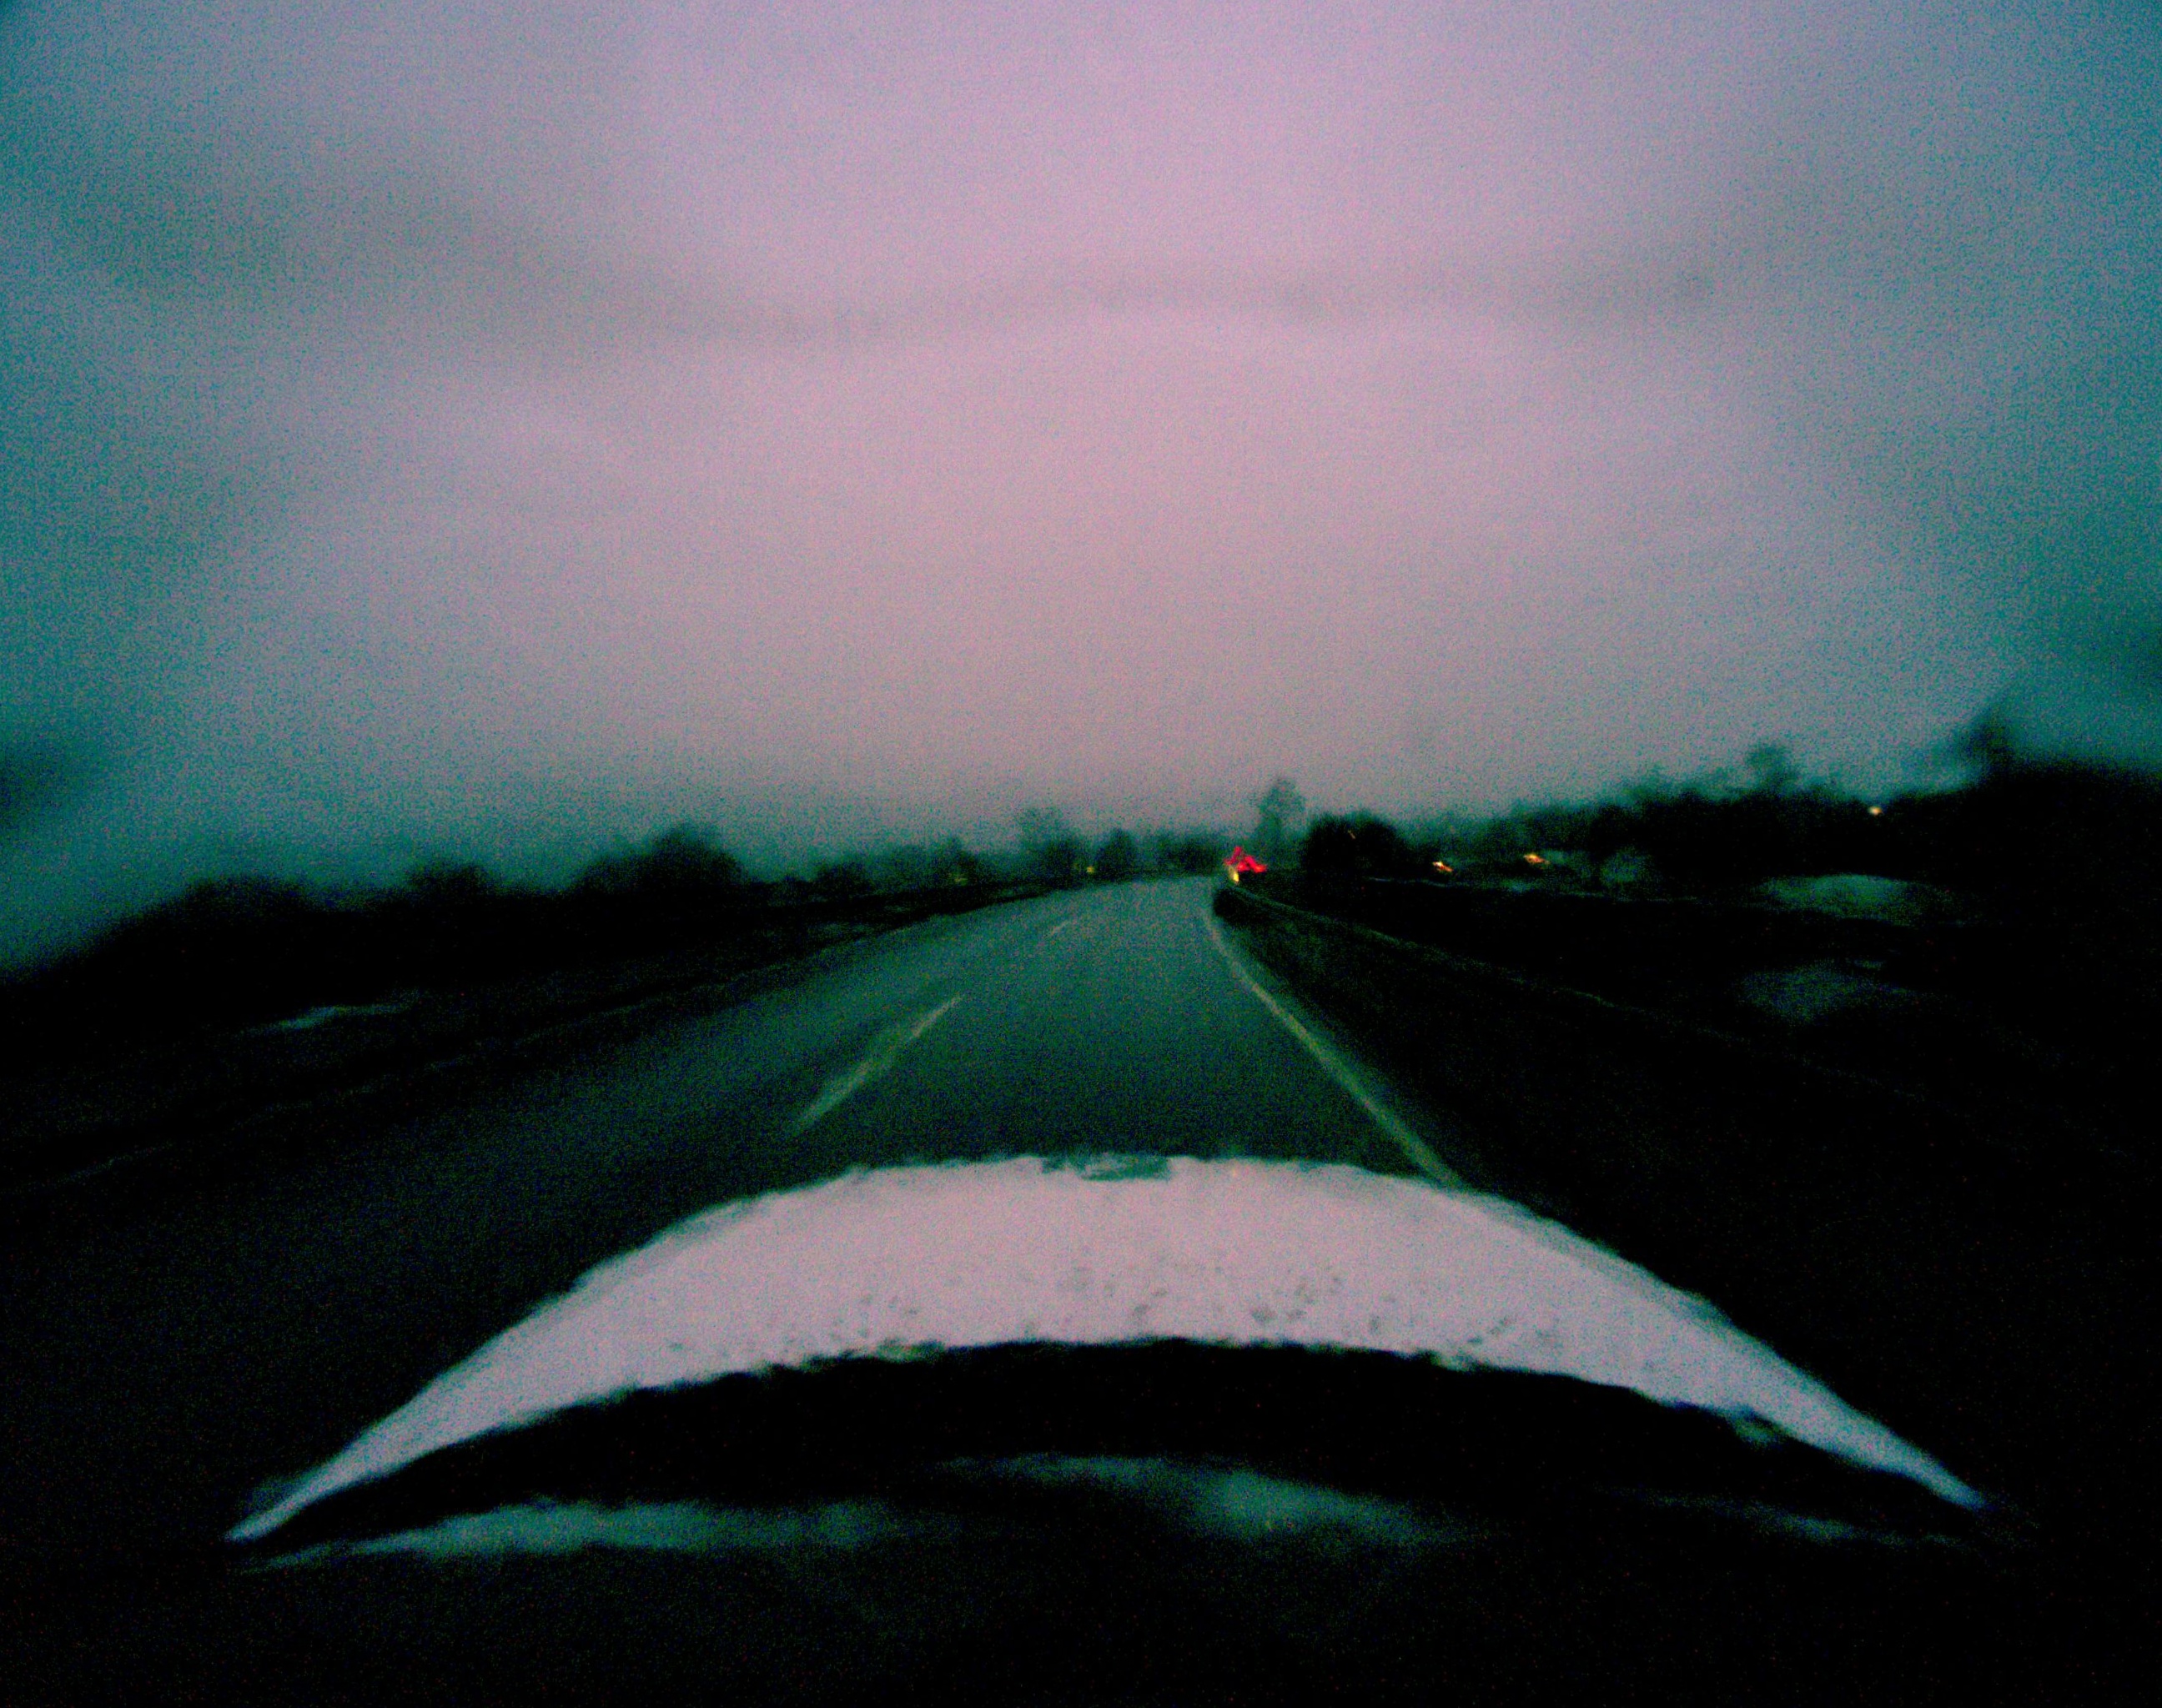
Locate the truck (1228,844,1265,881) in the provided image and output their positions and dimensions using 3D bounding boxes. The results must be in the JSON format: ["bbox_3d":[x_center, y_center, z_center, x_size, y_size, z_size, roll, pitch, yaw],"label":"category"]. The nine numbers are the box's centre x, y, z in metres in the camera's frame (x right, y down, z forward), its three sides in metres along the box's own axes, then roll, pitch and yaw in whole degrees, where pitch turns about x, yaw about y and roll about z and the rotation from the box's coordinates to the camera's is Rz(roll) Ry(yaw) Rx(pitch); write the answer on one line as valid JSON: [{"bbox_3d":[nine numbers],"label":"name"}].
[{"bbox_3d":[16.216,0.867,79.412,2.514,2.868,5.945,11,-1,17],"label":"truck"}]
